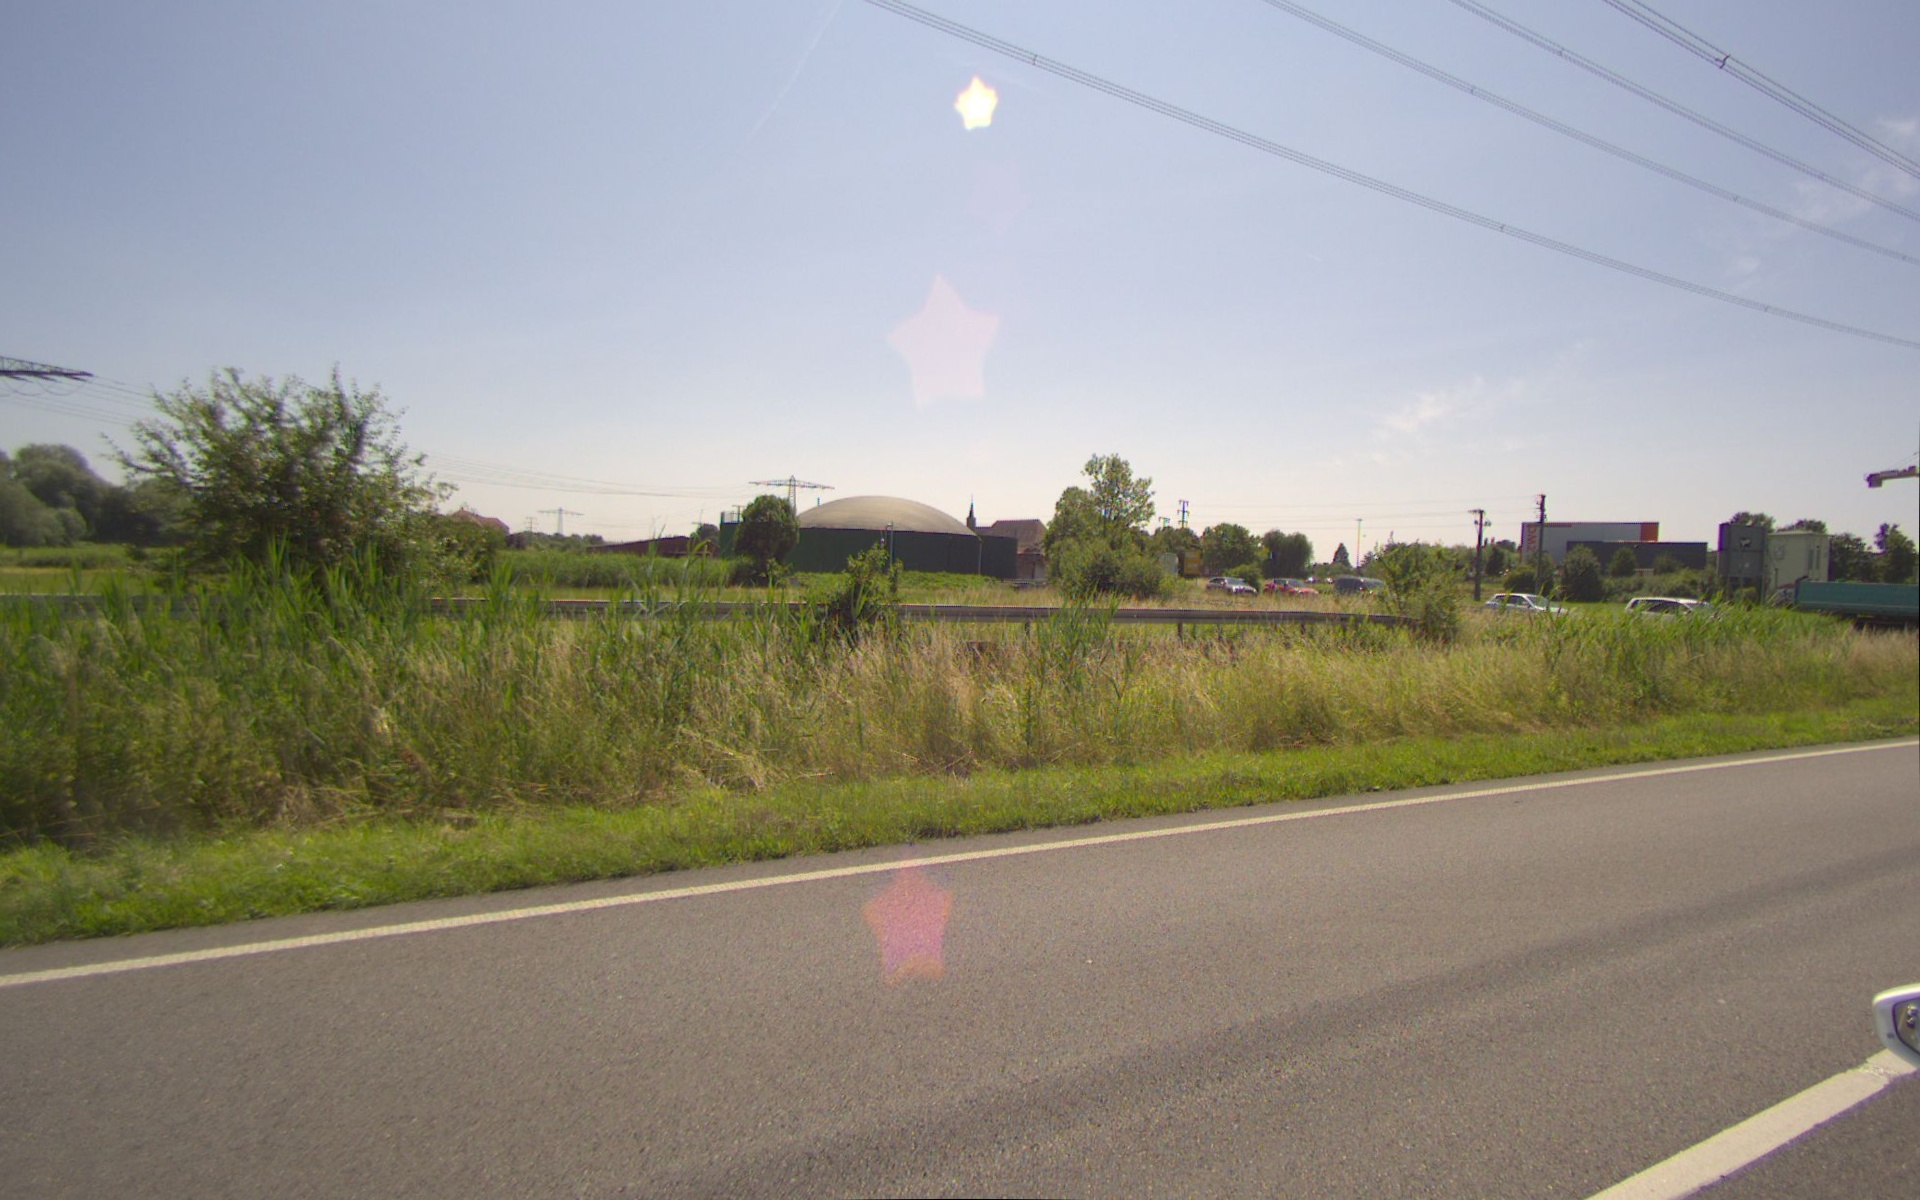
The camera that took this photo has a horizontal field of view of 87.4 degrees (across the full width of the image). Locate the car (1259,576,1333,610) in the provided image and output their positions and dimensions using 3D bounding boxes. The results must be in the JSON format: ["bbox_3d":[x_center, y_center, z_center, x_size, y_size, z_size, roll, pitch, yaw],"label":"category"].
[{"bbox_3d":[20.145,-0.453,60.376,1.885,1.874,4.465,1,2,-18],"label":"car"}]

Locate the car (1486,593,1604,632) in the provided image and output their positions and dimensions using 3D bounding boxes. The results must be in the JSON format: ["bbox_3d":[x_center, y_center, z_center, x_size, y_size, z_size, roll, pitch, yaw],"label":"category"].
[{"bbox_3d":[25.323,0.508,43.650,1.691,1.490,4.428,1,1,-18],"label":"car"}]

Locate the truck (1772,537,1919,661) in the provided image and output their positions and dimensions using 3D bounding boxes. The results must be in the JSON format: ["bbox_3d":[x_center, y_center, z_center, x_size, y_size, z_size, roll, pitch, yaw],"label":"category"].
[{"bbox_3d":[30.585,0.010,31.215,2.465,3.785,7.876,1,3,-26],"label":"truck"}]

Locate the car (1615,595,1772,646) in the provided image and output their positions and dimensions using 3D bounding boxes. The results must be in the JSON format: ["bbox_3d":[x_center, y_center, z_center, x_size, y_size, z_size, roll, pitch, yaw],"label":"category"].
[{"bbox_3d":[27.457,0.713,37.826,1.935,1.634,4.542,1,2,-14],"label":"car"}]

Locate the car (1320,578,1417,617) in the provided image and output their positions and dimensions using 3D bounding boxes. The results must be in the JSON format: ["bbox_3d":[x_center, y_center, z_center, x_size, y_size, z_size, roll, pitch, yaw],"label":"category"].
[{"bbox_3d":[21.834,-0.184,53.913,2.056,1.893,4.929,0,2,-20],"label":"car"}]

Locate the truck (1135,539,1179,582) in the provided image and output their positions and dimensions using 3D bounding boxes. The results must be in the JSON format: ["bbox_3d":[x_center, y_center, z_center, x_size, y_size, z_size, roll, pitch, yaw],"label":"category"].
[{"bbox_3d":[24.296,-4.697,123.217,3.616,4.708,13.242,2,1,18],"label":"truck"}]

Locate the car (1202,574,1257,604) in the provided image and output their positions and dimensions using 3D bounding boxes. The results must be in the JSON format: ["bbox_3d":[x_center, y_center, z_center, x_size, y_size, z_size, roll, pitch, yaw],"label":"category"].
[{"bbox_3d":[18.148,-0.734,67.832,1.633,1.927,3.984,1,1,-18],"label":"car"}]

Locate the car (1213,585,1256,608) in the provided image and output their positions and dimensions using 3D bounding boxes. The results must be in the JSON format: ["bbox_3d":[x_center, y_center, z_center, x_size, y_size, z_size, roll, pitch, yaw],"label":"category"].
[{"bbox_3d":[21.436,-0.302,78.591,1.962,1.701,3.997,1,0,-5],"label":"car"}]
